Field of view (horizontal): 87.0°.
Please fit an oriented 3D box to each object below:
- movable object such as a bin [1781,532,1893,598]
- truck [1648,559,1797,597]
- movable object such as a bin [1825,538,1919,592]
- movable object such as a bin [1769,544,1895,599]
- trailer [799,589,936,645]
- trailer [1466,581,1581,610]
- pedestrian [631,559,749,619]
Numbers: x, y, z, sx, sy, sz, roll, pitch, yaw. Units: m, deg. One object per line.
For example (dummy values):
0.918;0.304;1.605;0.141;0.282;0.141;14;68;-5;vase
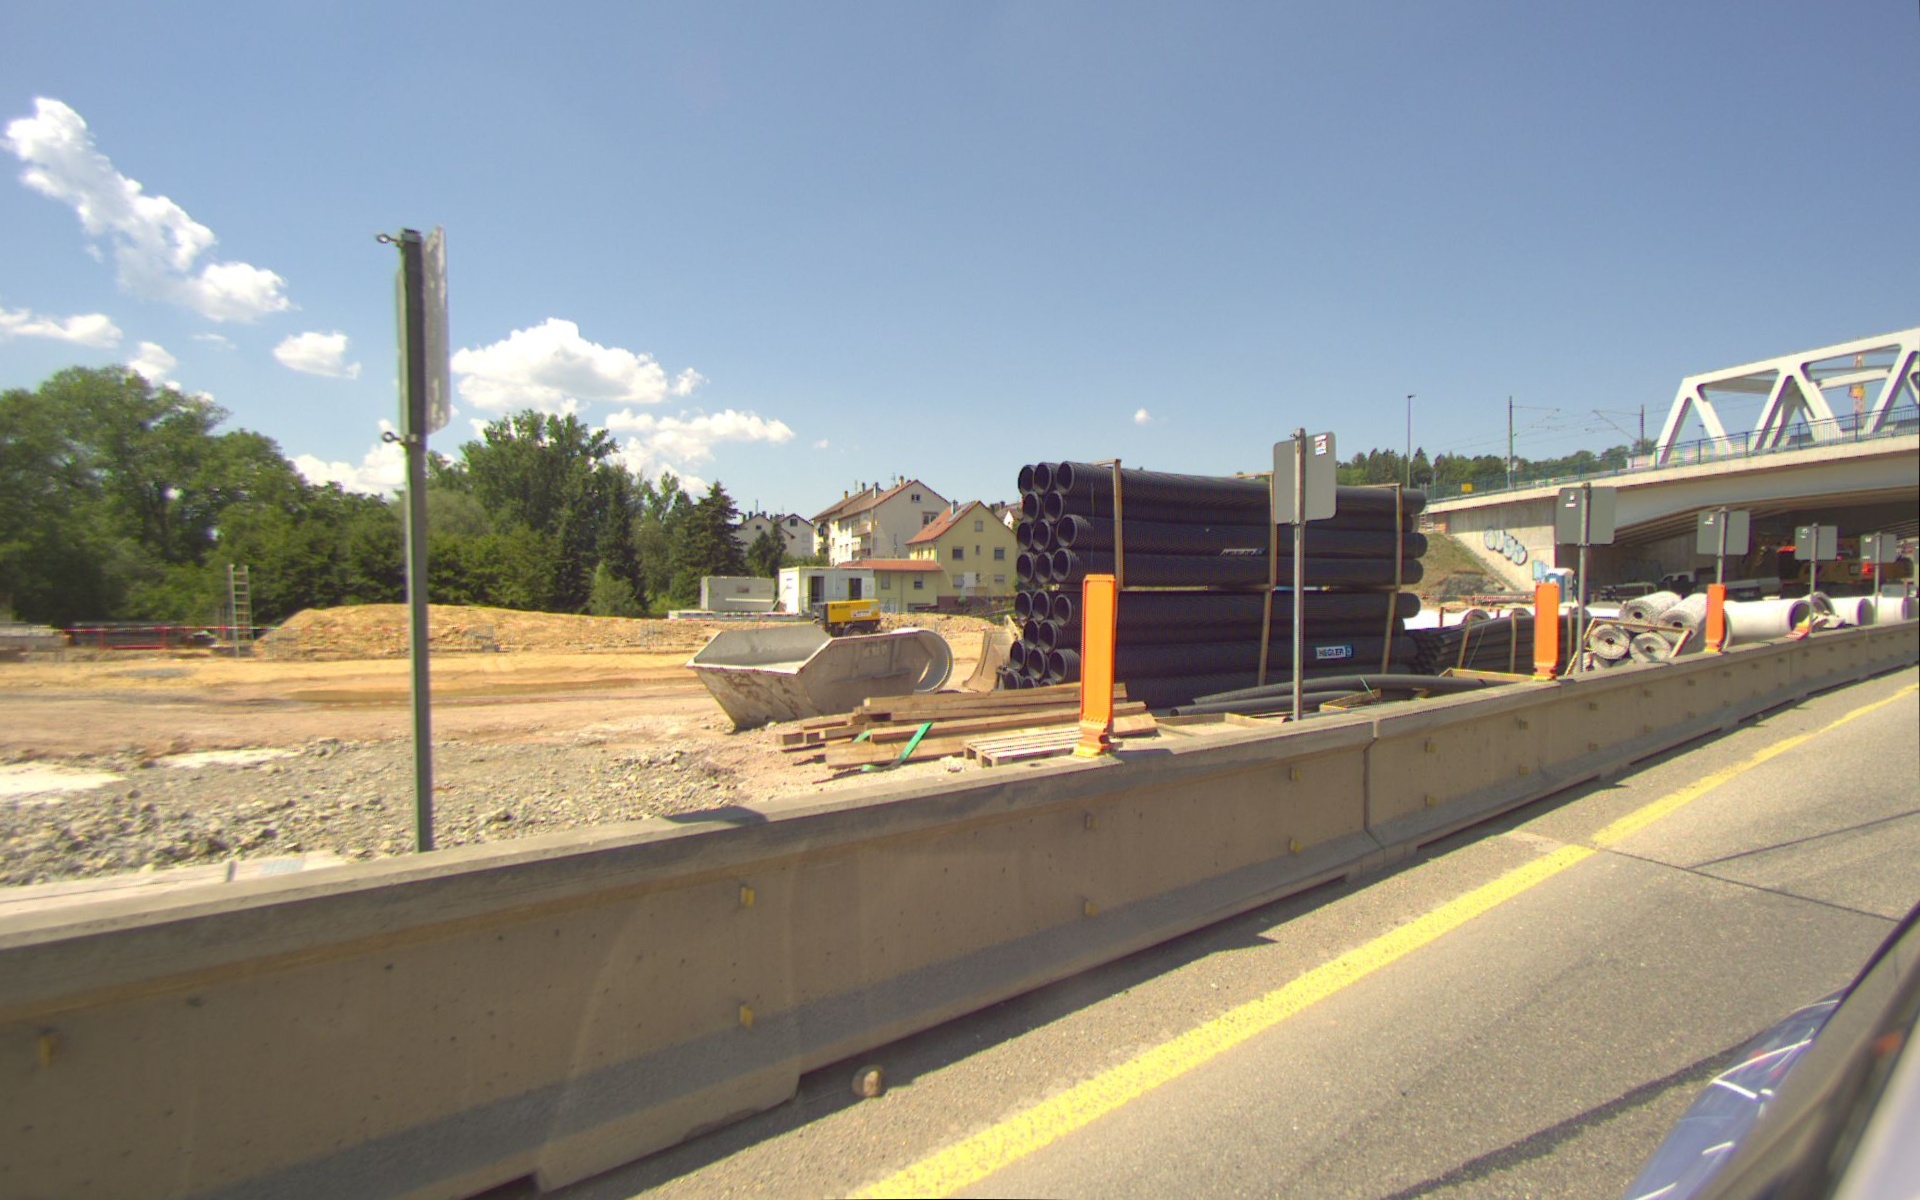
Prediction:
50.841;-1.988;58.783;2.843;3.586;3.902;-3;1;-16;movable object such as a bin
44.894;-1.262;59.802;2.610;2.099;6.554;-2;1;-24;truck
59.794;-2.248;65.723;2.929;3.327;4.576;-3;1;-23;movable object such as a bin
53.559;-1.709;62.314;2.445;3.094;5.266;-3;1;-23;movable object such as a bin
-2.773;0.467;30.552;3.751;1.504;1.630;-2;1;-31;trailer
28.371;-0.279;51.087;2.015;1.234;4.736;-4;3;-27;trailer
-10.275;-0.457;38.561;3.921;2.038;2.003;-4;3;-29;pedestrian
